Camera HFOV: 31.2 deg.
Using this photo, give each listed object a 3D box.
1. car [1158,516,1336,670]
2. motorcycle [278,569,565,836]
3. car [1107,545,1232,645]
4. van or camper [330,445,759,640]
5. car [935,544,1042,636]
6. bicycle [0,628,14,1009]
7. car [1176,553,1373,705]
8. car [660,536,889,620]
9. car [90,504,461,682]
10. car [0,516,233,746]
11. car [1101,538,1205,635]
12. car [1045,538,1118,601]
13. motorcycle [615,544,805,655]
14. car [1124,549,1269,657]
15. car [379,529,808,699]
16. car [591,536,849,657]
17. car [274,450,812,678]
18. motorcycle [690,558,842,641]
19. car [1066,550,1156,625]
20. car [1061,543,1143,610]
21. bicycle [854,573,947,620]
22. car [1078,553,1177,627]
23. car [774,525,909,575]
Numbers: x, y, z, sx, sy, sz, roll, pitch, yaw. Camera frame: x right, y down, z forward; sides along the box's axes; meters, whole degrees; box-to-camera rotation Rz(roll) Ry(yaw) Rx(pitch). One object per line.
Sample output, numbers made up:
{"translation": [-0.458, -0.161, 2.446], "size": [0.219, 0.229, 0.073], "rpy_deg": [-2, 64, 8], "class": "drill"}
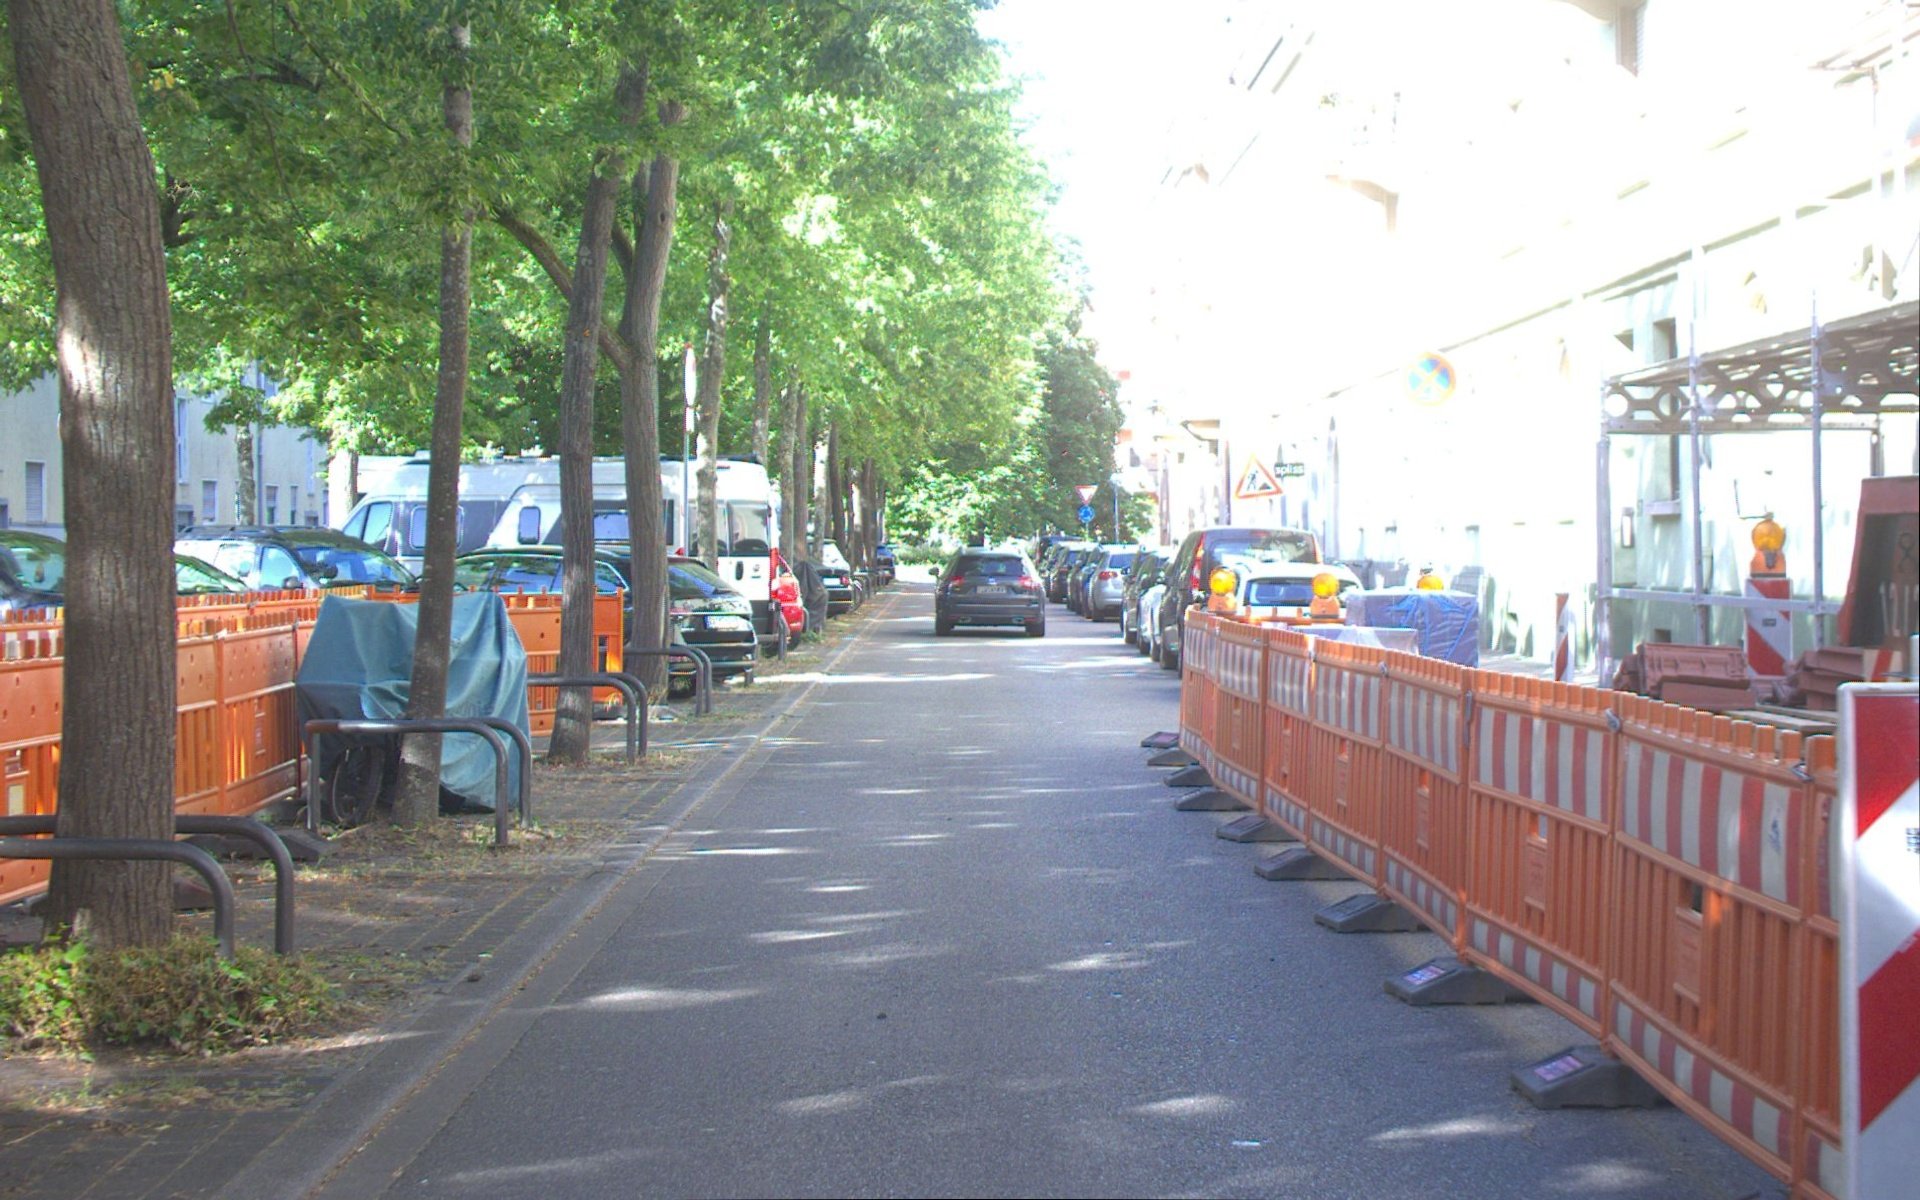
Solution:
{"translation": [3.464, -0.107, 42.129], "size": [1.771, 1.787, 3.990], "rpy_deg": [0, 1, -1], "class": "car"}
{"translation": [-2.843, 0.508, 18.404], "size": [0.631, 1.320, 2.227], "rpy_deg": [2, 1, 15], "class": "motorcycle"}
{"translation": [3.227, -0.108, 53.423], "size": [1.599, 1.487, 3.967], "rpy_deg": [0, 1, -1], "class": "car"}
{"translation": [-6.438, -0.912, 52.990], "size": [6.296, 2.815, 2.404], "rpy_deg": [2, 1, 29], "class": "van or camper"}
{"translation": [0.510, -0.199, 58.031], "size": [1.714, 1.478, 4.144], "rpy_deg": [-1, 1, 1], "class": "car"}
{"translation": [-3.092, 0.658, 9.719], "size": [0.280, 1.152, 1.551], "rpy_deg": [1, 0, 4], "class": "bicycle"}
{"translation": [3.282, 0.265, 36.558], "size": [1.704, 1.506, 4.284], "rpy_deg": [0, 1, 0], "class": "car"}
{"translation": [-3.382, -0.394, 62.385], "size": [4.015, 1.469, 1.623], "rpy_deg": [0, 1, 35], "class": "car"}
{"translation": [-7.850, -0.106, 39.238], "size": [4.381, 1.908, 1.995], "rpy_deg": [1, 1, 44], "class": "car"}
{"translation": [-7.677, 0.212, 25.739], "size": [4.125, 1.620, 1.696], "rpy_deg": [0, 1, 23], "class": "car"}
{"translation": [3.207, -0.250, 57.735], "size": [1.580, 1.545, 4.041], "rpy_deg": [1, 1, 1], "class": "car"}
{"translation": [3.121, -0.806, 88.868], "size": [1.805, 1.558, 4.320], "rpy_deg": [-1, 1, 1], "class": "car"}
{"translation": [-3.222, -0.011, 44.163], "size": [2.318, 1.330, 0.969], "rpy_deg": [2, 1, -9], "class": "motorcycle"}
{"translation": [3.240, 0.004, 47.735], "size": [1.607, 1.415, 4.569], "rpy_deg": [0, 1, -1], "class": "car"}
{"translation": [-3.667, 0.094, 34.197], "size": [4.095, 1.520, 1.699], "rpy_deg": [2, 3, 33], "class": "car"}
{"translation": [-3.407, -0.064, 48.344], "size": [1.659, 1.612, 3.879], "rpy_deg": [-1, 1, -40], "class": "car"}
{"translation": [-5.049, -0.457, 41.209], "size": [6.319, 2.550, 2.334], "rpy_deg": [1, 0, 32], "class": "car"}
{"translation": [-2.933, -0.014, 52.018], "size": [2.148, 1.225, 0.881], "rpy_deg": [1, 1, 9], "class": "motorcycle"}
{"translation": [3.212, -0.286, 73.720], "size": [1.767, 1.546, 4.184], "rpy_deg": [0, 1, 0], "class": "car"}
{"translation": [3.233, -0.551, 79.072], "size": [1.692, 1.463, 4.005], "rpy_deg": [1, 1, 0], "class": "car"}
{"translation": [-1.242, -0.082, 71.272], "size": [1.900, 0.916, 0.379], "rpy_deg": [2, 1, 20], "class": "bicycle"}
{"translation": [3.312, -0.227, 68.562], "size": [1.770, 1.426, 4.291], "rpy_deg": [0, 1, 0], "class": "car"}
{"translation": [-3.867, -1.617, 111.923], "size": [4.087, 1.461, 1.867], "rpy_deg": [2, 0, -12], "class": "car"}
